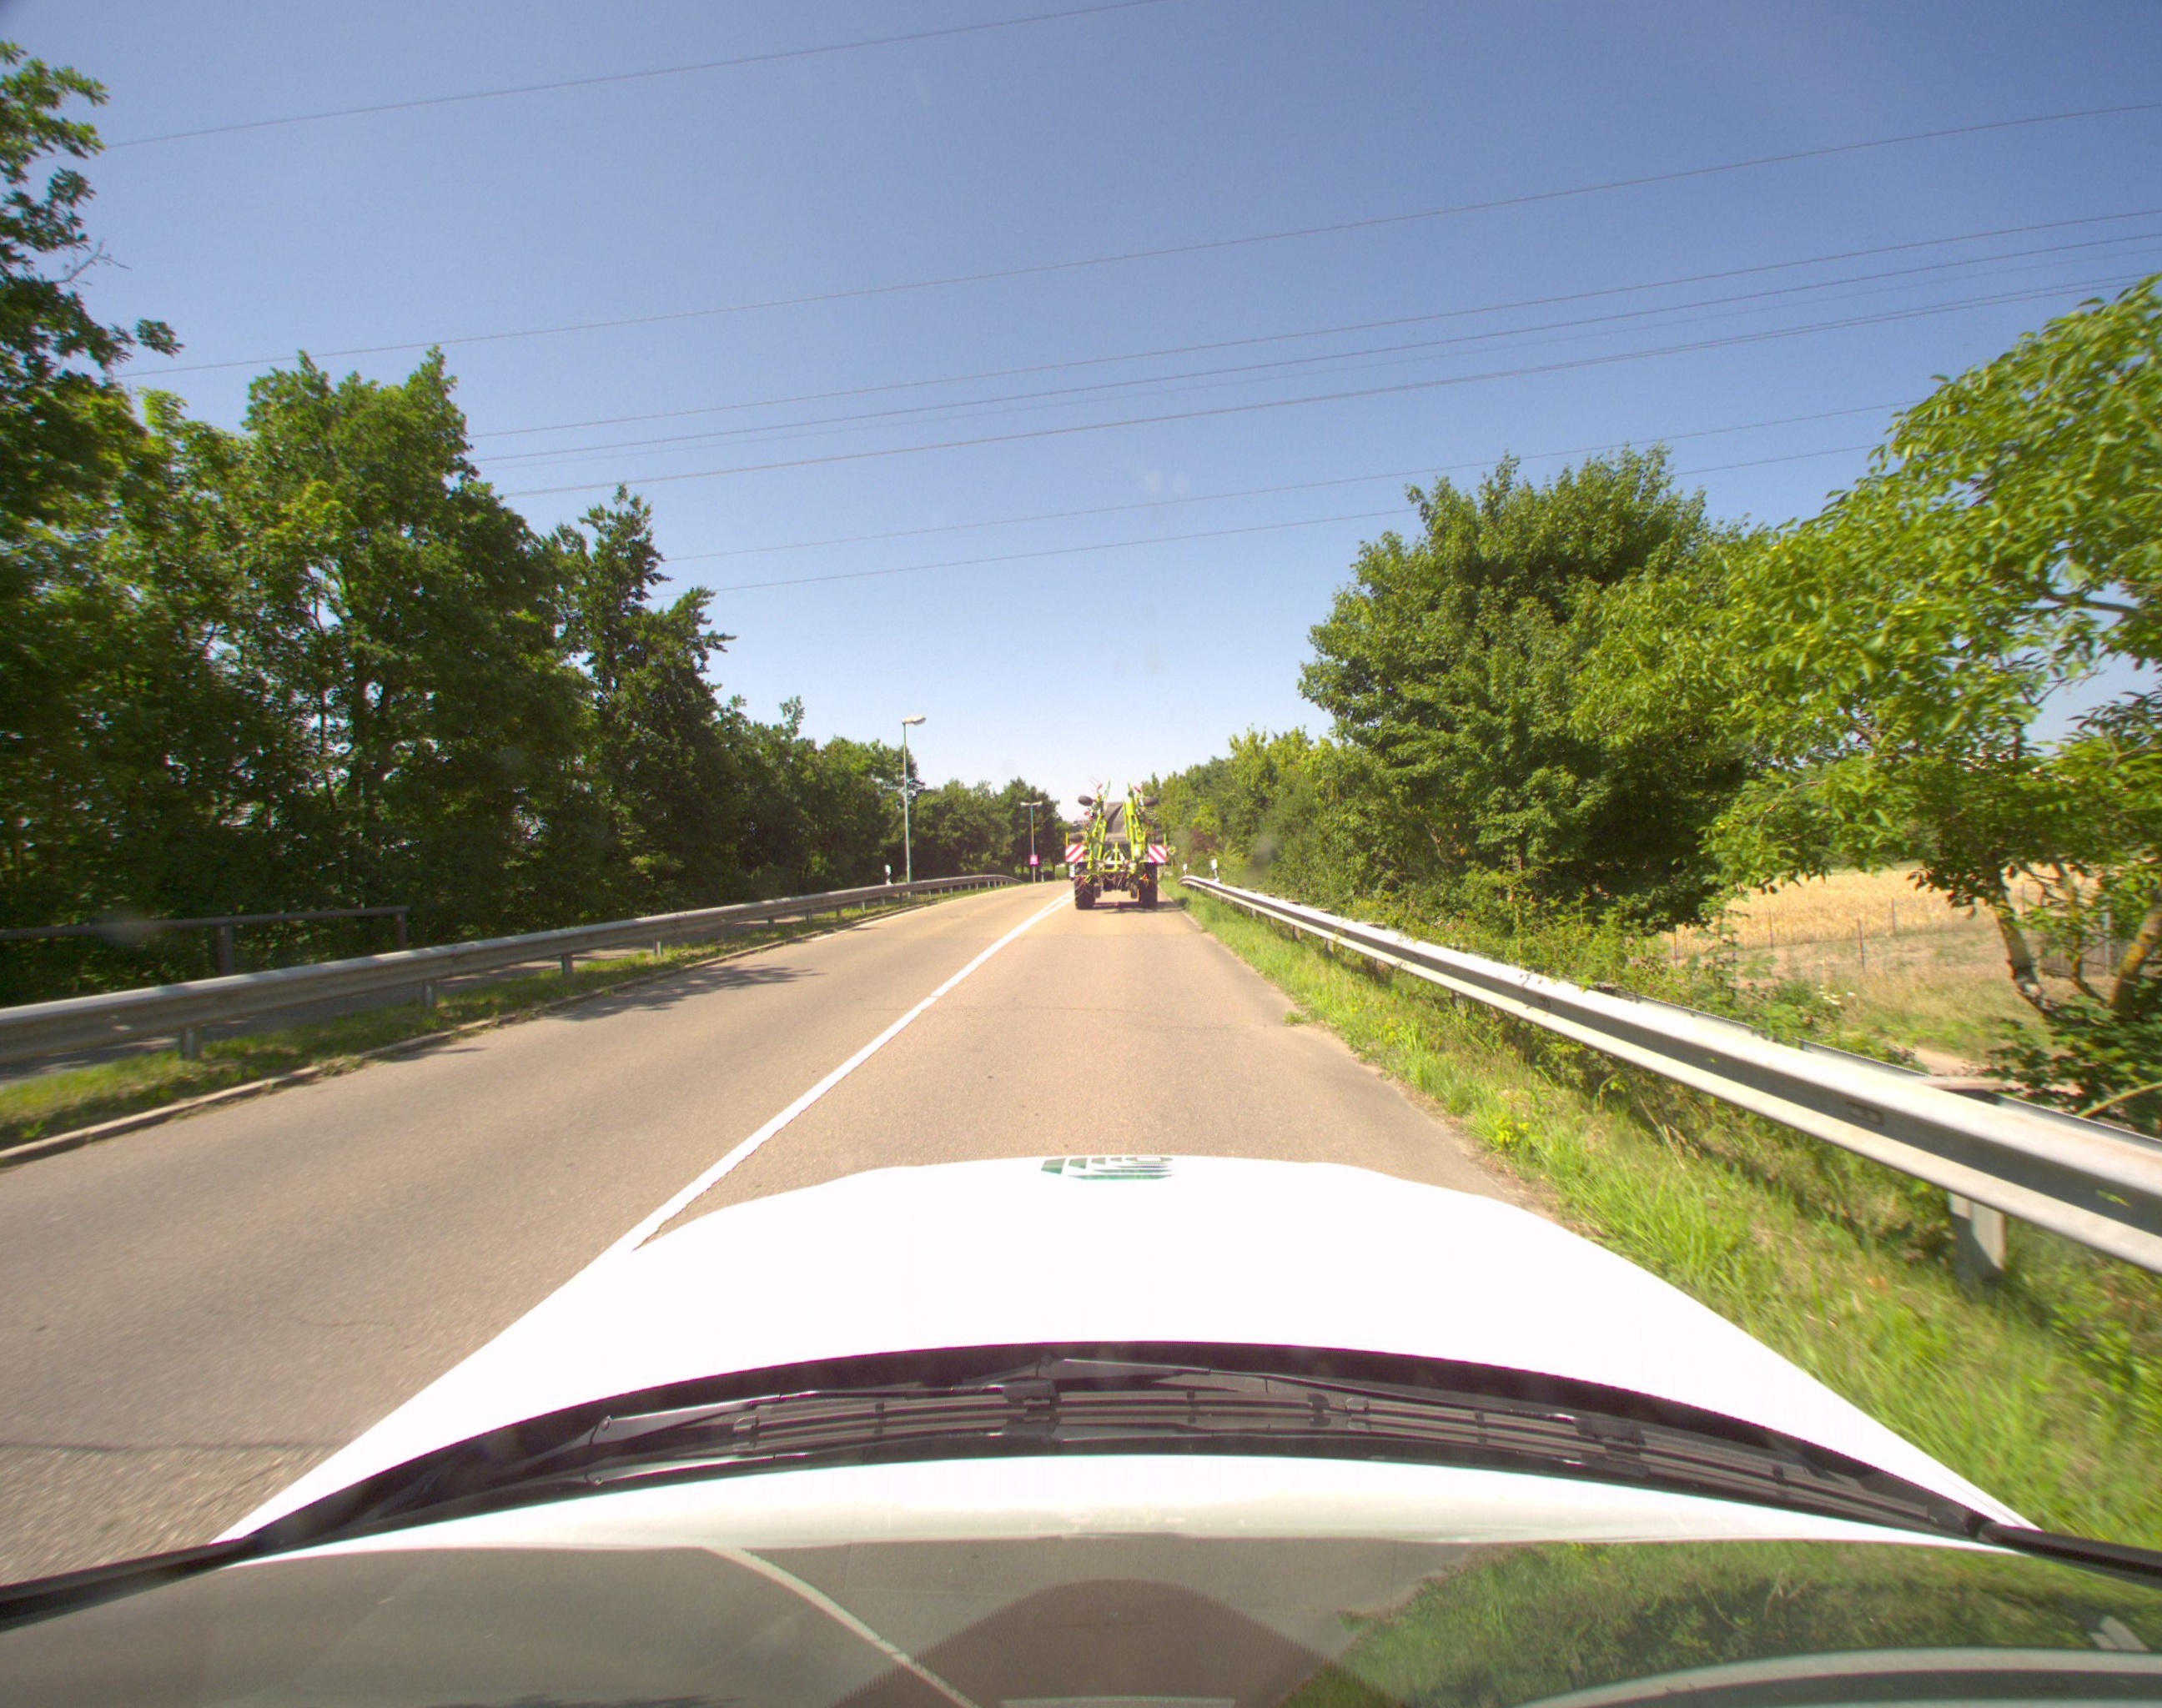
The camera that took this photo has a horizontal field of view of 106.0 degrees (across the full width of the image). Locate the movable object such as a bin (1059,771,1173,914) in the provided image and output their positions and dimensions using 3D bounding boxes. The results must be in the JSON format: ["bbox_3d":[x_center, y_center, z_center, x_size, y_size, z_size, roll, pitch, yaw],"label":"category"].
[{"bbox_3d":[1.006,-0.281,22.836,2.744,3.444,5.674,-1,0,3],"label":"movable object such as a bin"}]

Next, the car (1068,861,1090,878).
[{"bbox_3d":[-0.136,1.347,70.776,1.733,1.376,4.001,-1,0,1],"label":"car"}]
